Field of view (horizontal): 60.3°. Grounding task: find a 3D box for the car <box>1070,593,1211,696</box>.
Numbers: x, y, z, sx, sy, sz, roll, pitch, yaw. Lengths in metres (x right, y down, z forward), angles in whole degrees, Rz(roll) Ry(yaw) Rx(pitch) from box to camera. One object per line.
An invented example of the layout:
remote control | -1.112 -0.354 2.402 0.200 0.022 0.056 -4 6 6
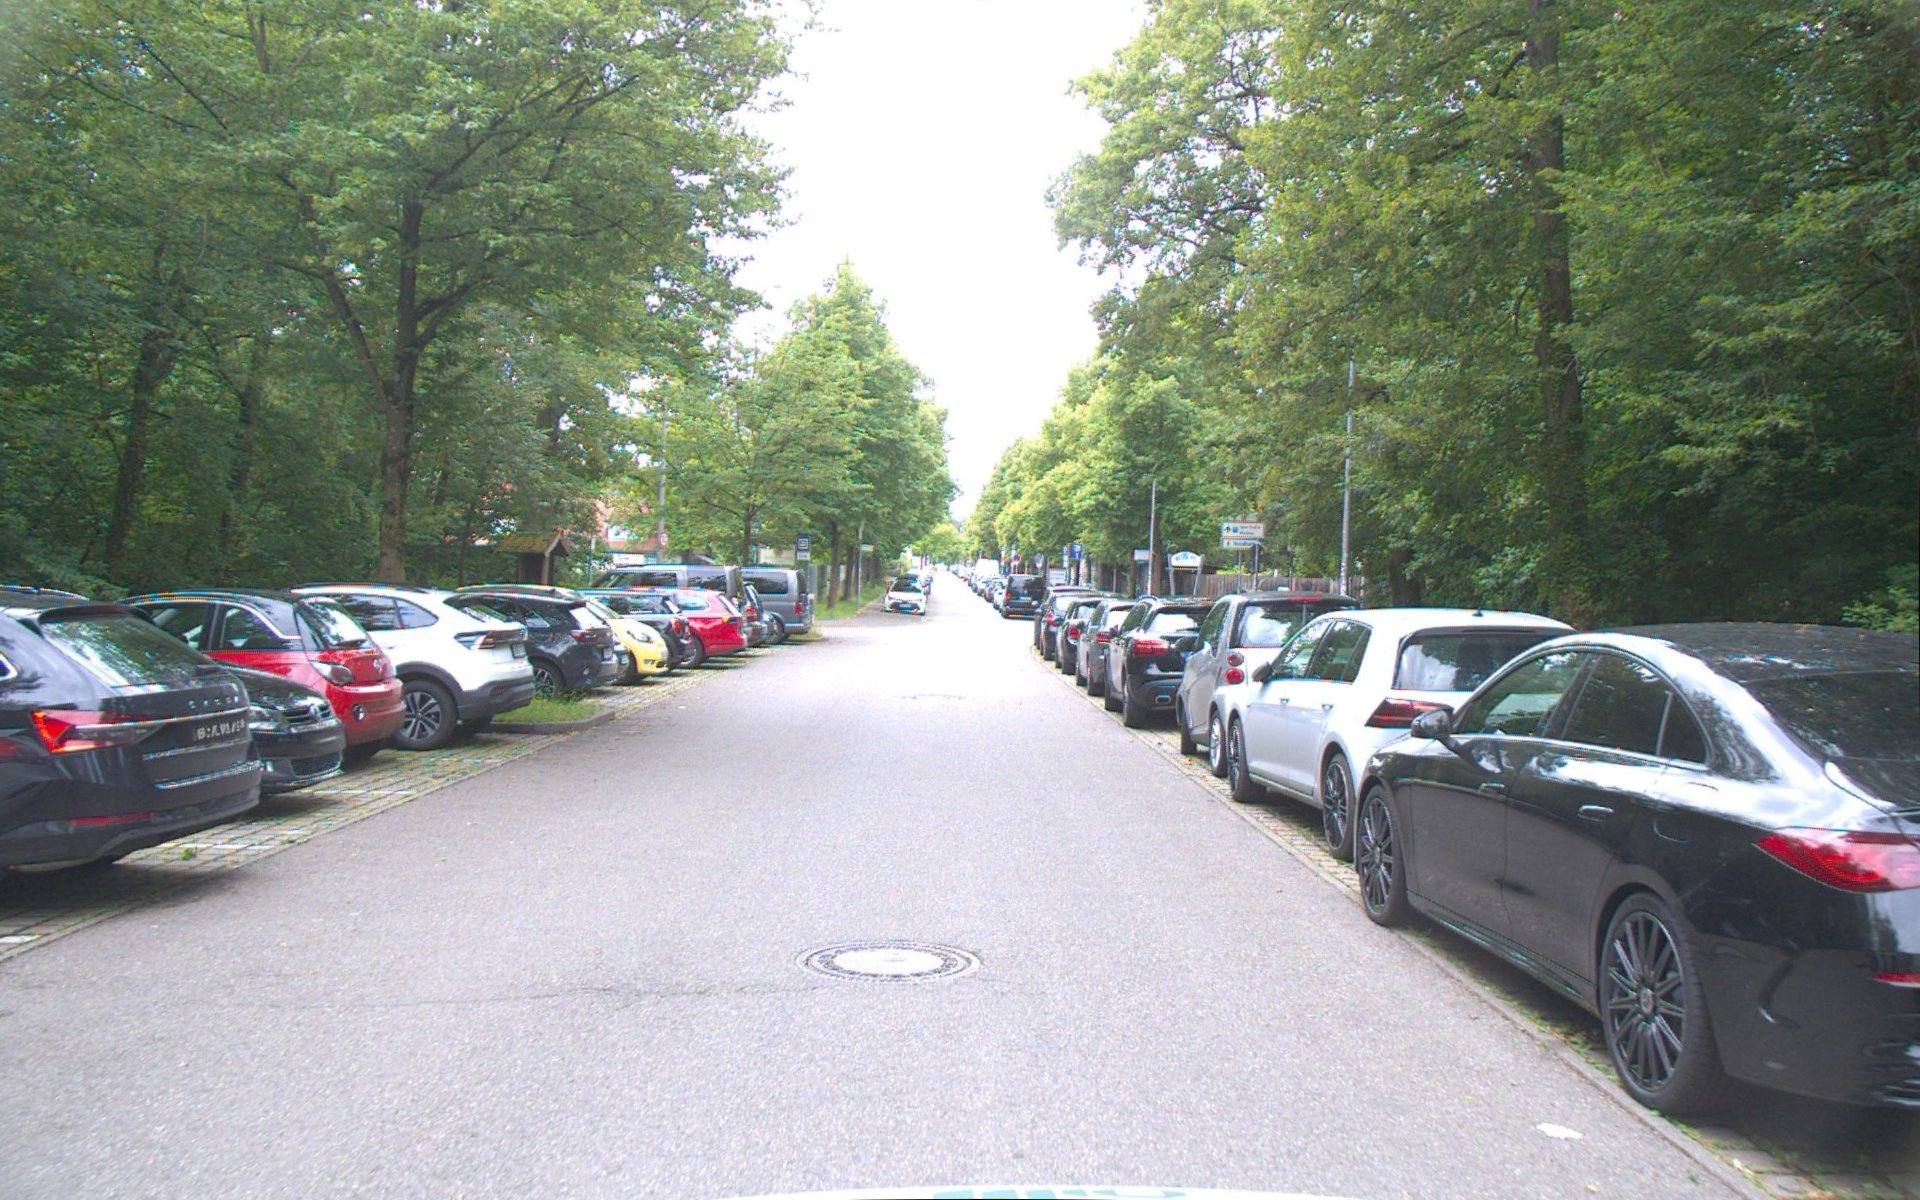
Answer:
car | 2.770 0.636 26.260 1.701 1.457 4.501 1 0 0

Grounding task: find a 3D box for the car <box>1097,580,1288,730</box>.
car | 2.751 0.594 20.440 1.701 1.616 4.382 1 0 0

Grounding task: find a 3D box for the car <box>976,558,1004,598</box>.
car | 2.387 -1.761 133.081 2.139 3.068 4.898 1 1 1

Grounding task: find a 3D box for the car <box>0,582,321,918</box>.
car | -5.497 0.638 8.274 3.904 1.460 1.678 1 1 1

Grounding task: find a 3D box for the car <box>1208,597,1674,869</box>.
car | 2.976 0.736 11.199 1.702 1.450 4.151 1 0 -4

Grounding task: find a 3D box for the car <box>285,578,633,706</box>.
car | -6.333 0.510 21.218 3.906 1.463 1.715 2 0 -1

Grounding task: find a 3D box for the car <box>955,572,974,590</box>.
car | 0.509 -2.178 193.297 1.952 2.049 4.001 1 0 3

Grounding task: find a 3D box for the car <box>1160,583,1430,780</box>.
car | 3.006 0.656 15.657 1.701 1.595 4.008 1 0 0

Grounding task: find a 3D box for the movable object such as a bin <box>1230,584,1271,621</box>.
movable object such as a bin | 11.553 0.098 65.730 1.276 1.468 1.061 2 -1 -44

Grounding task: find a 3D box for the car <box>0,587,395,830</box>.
car | -6.138 0.671 11.340 3.904 1.460 1.678 1 1 1

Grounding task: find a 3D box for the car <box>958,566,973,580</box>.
car | 0.742 -3.696 226.744 1.858 1.736 4.065 1 0 3

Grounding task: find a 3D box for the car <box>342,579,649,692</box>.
car | -6.643 0.490 23.942 3.906 1.463 1.733 2 0 -1

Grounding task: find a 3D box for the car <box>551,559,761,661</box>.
car | -6.127 0.193 33.694 3.906 1.895 1.813 2 0 -1

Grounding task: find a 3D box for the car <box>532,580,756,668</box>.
car | -5.909 0.442 31.297 3.907 1.501 1.779 2 0 -3

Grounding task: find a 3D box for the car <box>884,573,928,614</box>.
car | -2.401 -0.303 72.671 1.730 1.623 4.214 4 1 -3

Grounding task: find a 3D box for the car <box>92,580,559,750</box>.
car | -6.120 0.598 16.290 3.906 1.493 1.714 1 1 -1

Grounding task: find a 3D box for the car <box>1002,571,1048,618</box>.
car | 2.946 -0.274 75.188 1.947 2.049 4.109 1 1 1

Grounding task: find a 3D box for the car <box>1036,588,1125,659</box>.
car | 2.715 0.495 38.019 1.701 1.521 4.233 1 0 0

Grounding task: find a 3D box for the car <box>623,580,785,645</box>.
car | -6.363 0.297 41.374 3.735 1.539 1.810 0 1 2

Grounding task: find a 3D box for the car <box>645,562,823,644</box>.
car | -5.895 0.084 43.512 4.411 2.013 1.890 1 0 -2

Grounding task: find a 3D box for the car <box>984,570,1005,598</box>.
car | 2.489 -1.167 120.154 1.439 2.002 3.189 1 1 1

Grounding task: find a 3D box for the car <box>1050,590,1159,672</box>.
car | 2.760 0.557 32.461 1.701 1.457 4.501 1 0 0

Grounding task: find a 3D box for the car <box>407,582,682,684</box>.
car | -6.530 0.500 26.266 3.906 1.463 1.618 2 0 -1

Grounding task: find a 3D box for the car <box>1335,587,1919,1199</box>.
car | 2.891 0.718 6.287 1.701 1.500 4.603 1 0 -2

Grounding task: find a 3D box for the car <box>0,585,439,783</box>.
car | -6.631 0.656 13.927 3.904 1.460 1.702 1 1 1

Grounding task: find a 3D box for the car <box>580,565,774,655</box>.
car | -6.120 0.212 36.131 3.907 1.796 1.823 2 0 -2

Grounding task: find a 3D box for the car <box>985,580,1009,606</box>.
car | 2.289 -0.471 103.577 1.439 1.558 3.189 1 1 1

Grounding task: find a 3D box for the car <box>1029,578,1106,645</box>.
car | 2.786 0.267 43.715 1.701 1.662 4.375 1 0 0

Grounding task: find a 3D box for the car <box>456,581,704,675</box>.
car | -6.505 0.461 28.654 3.907 1.463 1.671 2 0 -3

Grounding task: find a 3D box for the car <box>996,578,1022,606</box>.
car | 2.797 -0.465 94.840 1.439 1.558 3.189 1 1 1

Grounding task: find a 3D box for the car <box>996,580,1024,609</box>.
car | 2.683 -0.326 89.375 1.439 1.507 3.189 1 1 1
